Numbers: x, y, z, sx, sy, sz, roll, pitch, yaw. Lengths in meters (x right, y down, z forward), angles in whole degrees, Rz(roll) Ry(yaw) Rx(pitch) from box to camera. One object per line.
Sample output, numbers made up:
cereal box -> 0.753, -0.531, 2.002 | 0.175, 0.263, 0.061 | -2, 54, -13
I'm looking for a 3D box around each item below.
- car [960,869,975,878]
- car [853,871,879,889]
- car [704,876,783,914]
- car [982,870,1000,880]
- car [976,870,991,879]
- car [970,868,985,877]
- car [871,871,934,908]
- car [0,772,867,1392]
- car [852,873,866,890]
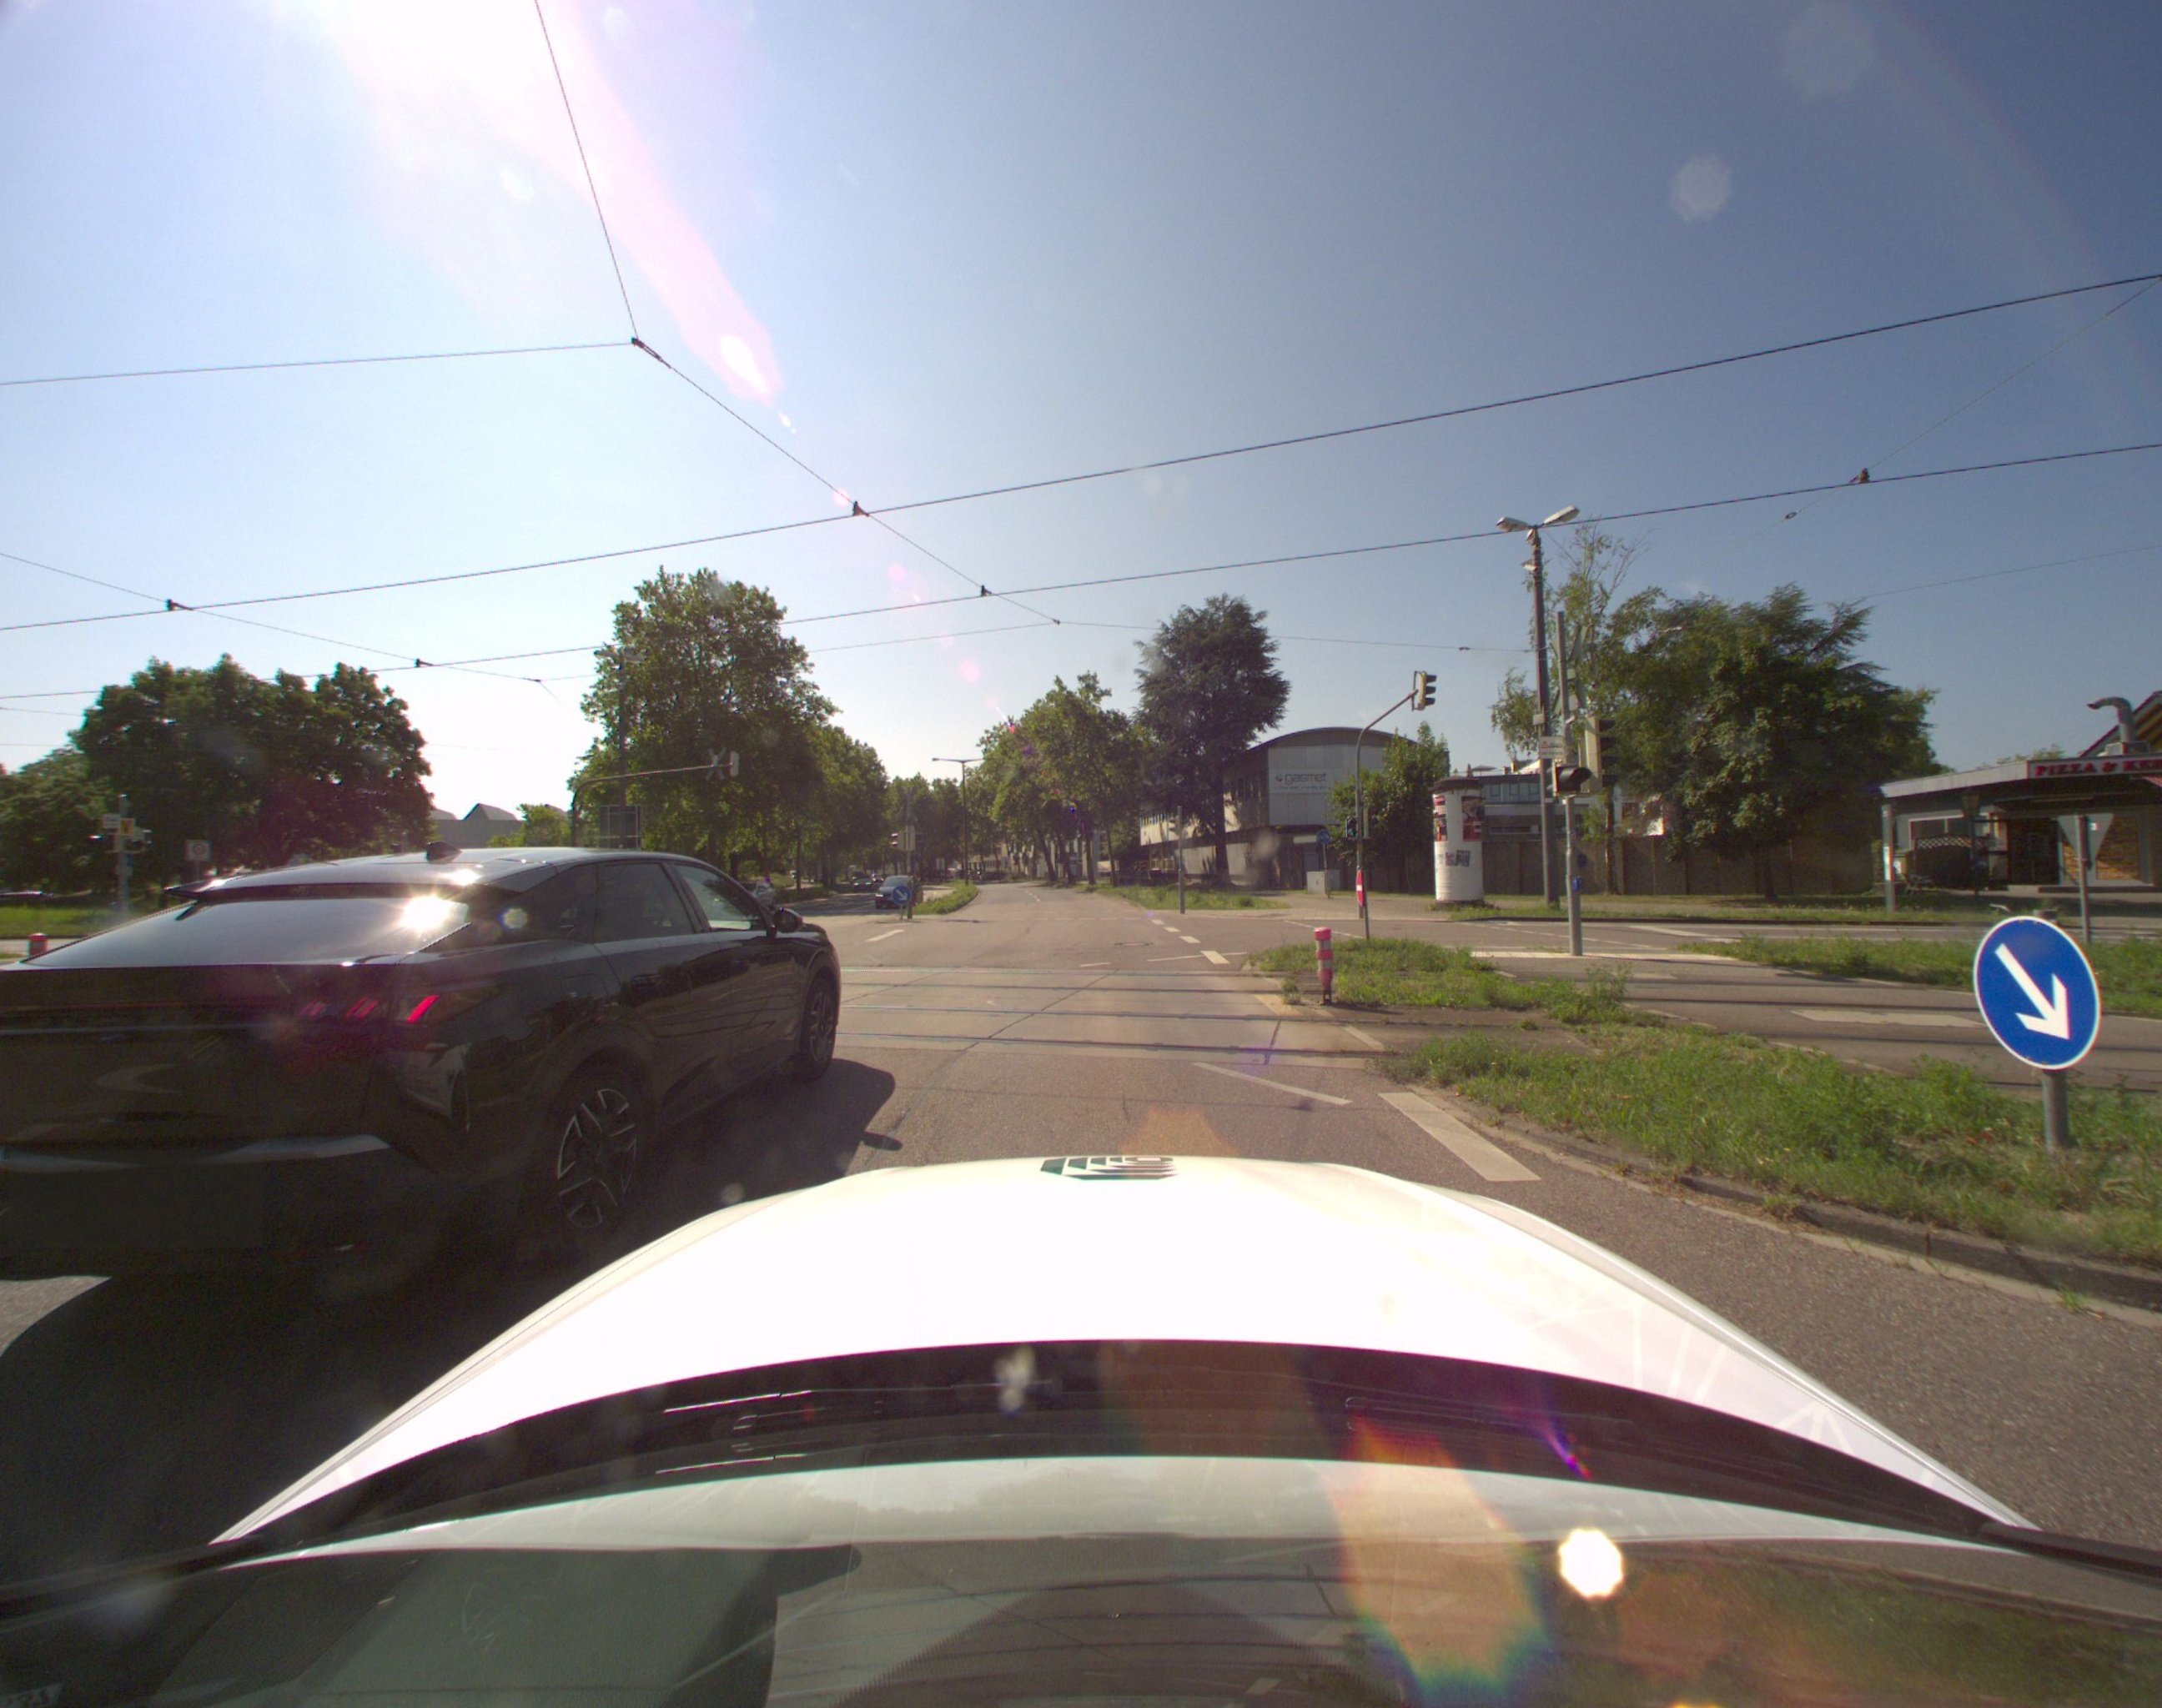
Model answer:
car -> -20.887, 3.534, 149.270 | 1.713, 1.669, 4.500 | -1, -1, -22
car -> -20.774, 2.510, 78.668 | 1.707, 1.589, 4.423 | -3, -1, -6
car -> -15.433, 1.839, 37.512 | 1.689, 1.508, 4.659 | -1, -1, 0
car -> -14.116, 3.322, 127.325 | 1.713, 1.487, 4.685 | -2, 0, -21
car -> -15.875, 3.348, 132.439 | 1.711, 1.488, 4.077 | -1, -1, -17
car -> -17.568, 3.157, 137.635 | 1.711, 1.455, 4.629 | -1, -1, -17
car -> -8.075, 1.569, 37.218 | 1.687, 1.508, 4.133 | -1, -1, 3
car -> -2.747, 0.719, 4.537 | 1.866, 1.696, 4.434 | -3, -2, 0
car -> -37.260, 4.601, 136.497 | 2.066, 2.613, 7.174 | -2, -1, -17
